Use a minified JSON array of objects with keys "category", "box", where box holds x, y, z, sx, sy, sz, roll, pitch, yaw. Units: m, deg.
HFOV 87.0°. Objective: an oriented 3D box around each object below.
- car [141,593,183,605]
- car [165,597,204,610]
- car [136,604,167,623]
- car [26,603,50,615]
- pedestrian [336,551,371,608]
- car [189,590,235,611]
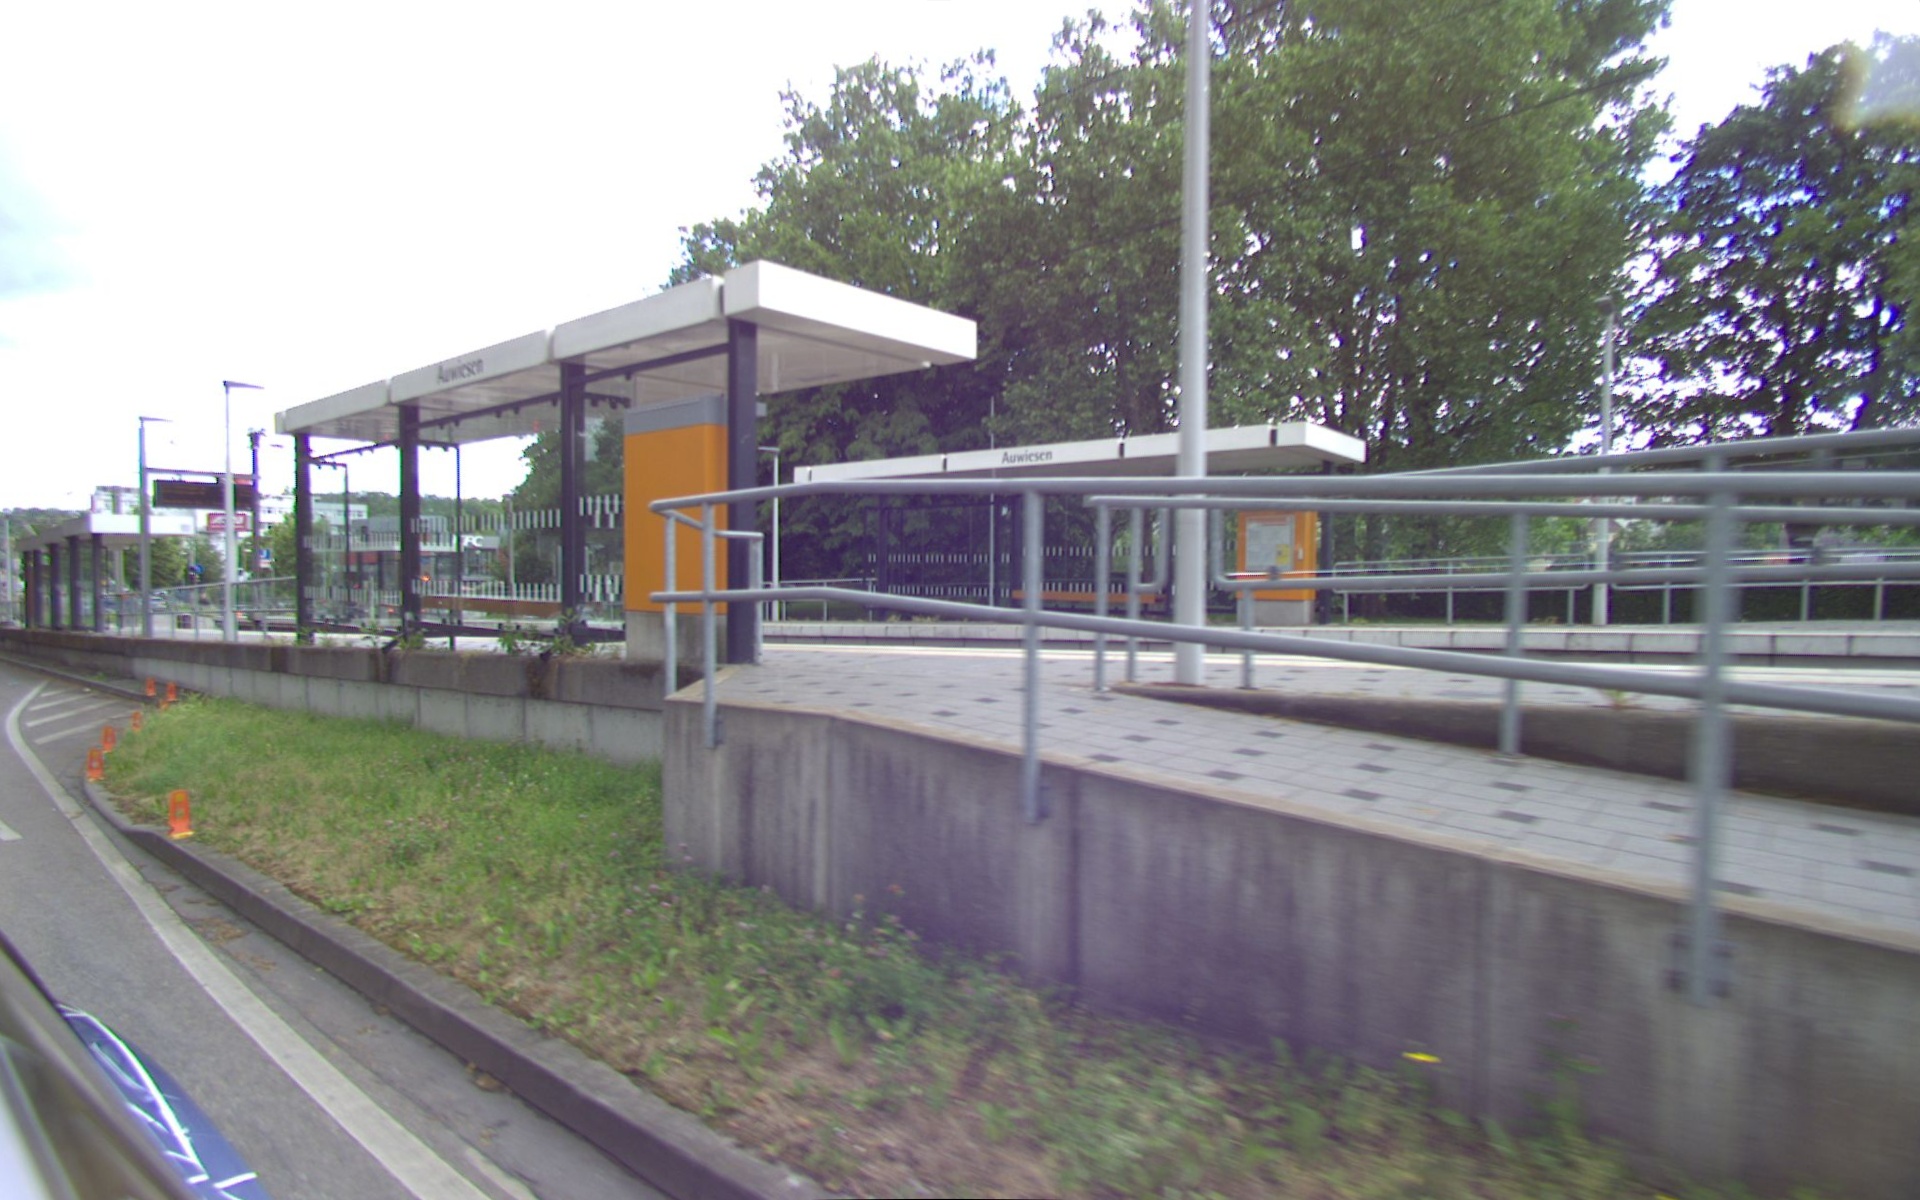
[{"category":"car","box":[-116.008,-0.108,147.144,1.795,1.517,4.424,1,3,41]},{"category":"car","box":[-105.093,0.461,137.200,2.003,1.517,3.943,1,4,44]},{"category":"car","box":[-81.480,1.324,101.990,4.399,1.764,1.692,1,0,42]},{"category":"car","box":[-116.585,1.154,127.965,4.048,1.457,1.579,1,0,38]},{"category":"pedestrian","box":[-24.001,-0.812,40.049,0.976,2.202,0.959,0,1,43]},{"category":"car","box":[-87.954,0.007,118.982,2.059,2.181,3.943,1,4,44]}]
